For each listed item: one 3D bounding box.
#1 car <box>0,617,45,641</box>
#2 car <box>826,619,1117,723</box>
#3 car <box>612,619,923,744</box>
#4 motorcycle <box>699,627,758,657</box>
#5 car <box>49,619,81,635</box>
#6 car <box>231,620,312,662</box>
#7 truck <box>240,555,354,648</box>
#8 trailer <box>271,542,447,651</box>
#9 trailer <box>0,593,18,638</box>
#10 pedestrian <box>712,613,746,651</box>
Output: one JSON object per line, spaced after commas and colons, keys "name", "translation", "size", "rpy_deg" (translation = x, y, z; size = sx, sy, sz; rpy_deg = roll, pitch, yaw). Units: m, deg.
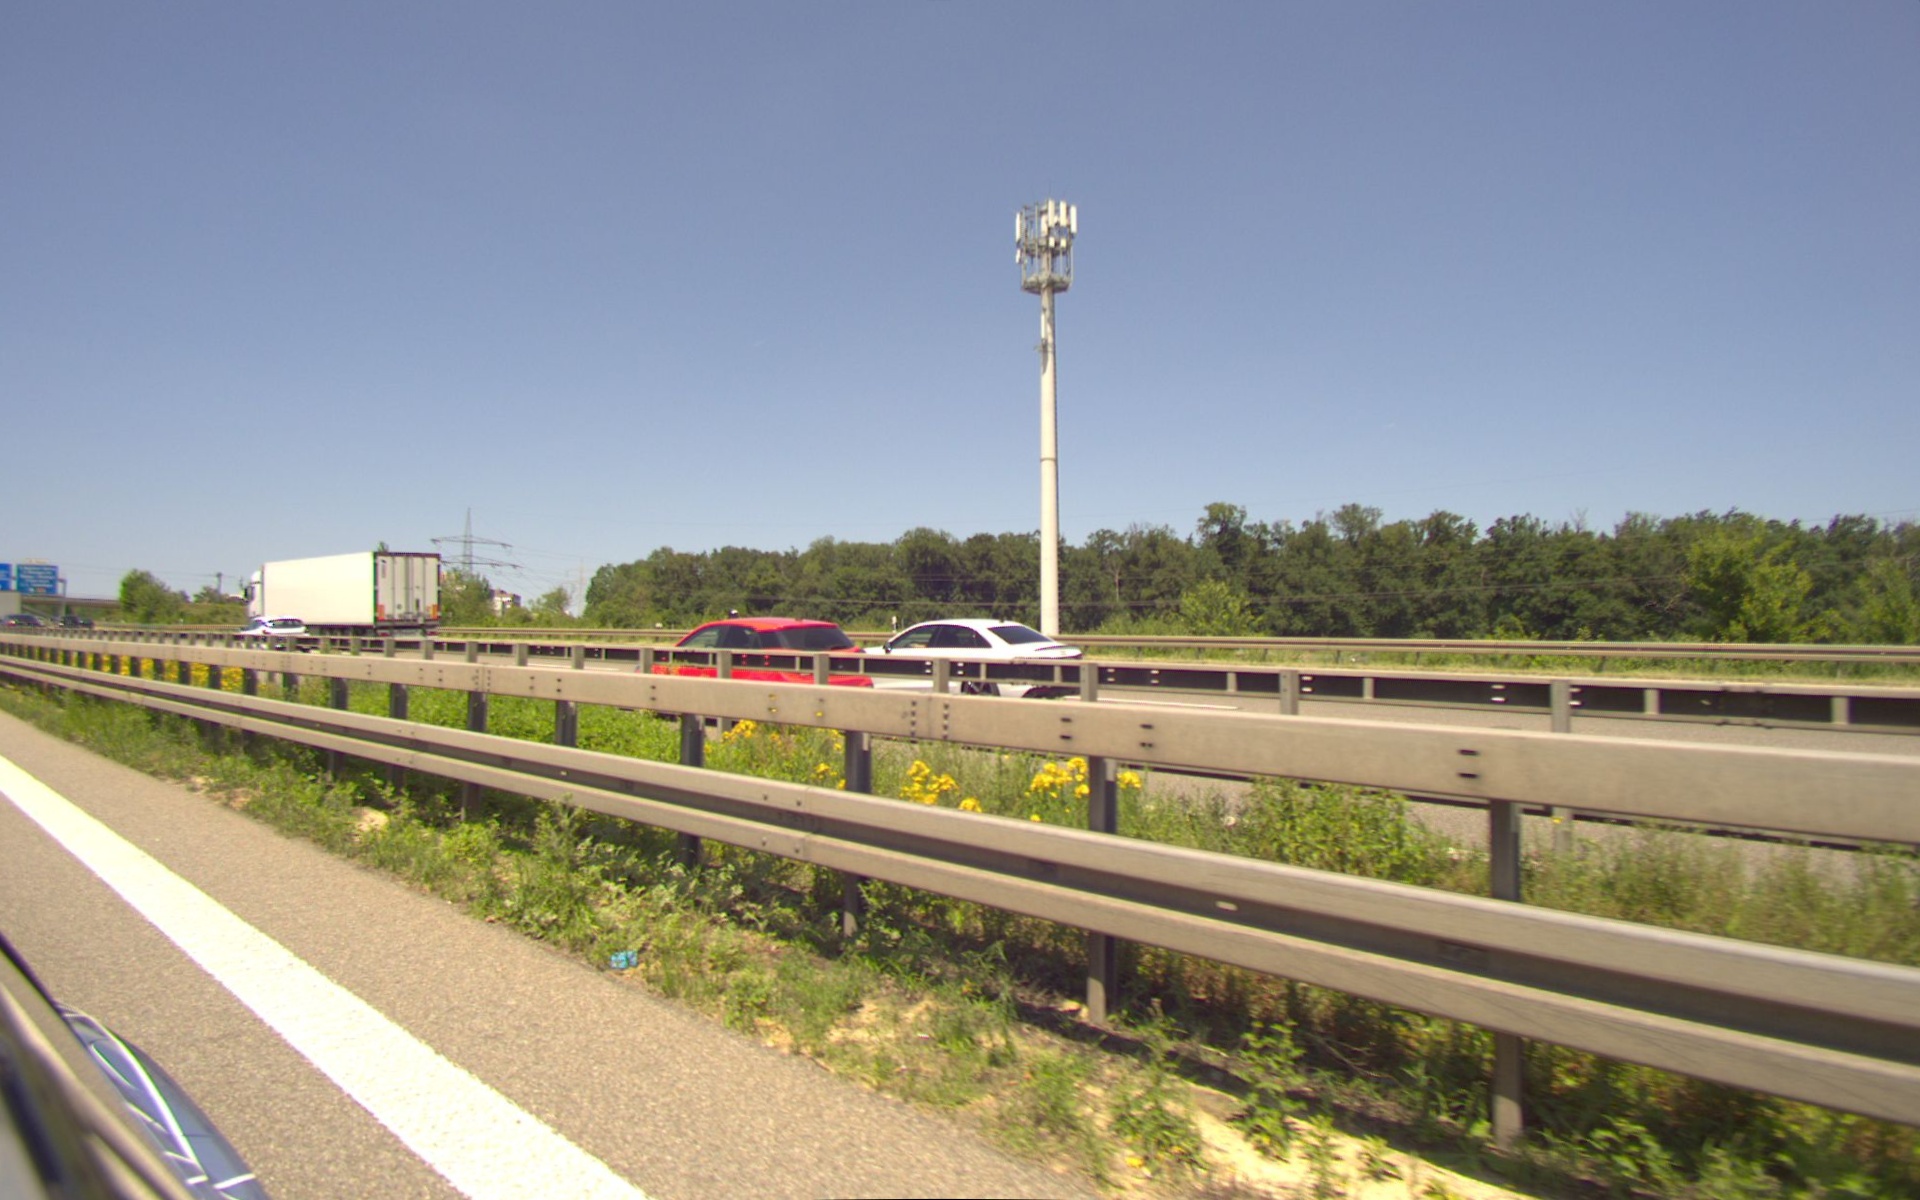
{"name": "car", "translation": [-67.525, 2.067, 72.743], "size": [4.659, 1.657, 1.973], "rpy_deg": [-1, -1, 40]}
{"name": "car", "translation": [0.053, 1.035, 16.252], "size": [4.756, 1.414, 1.640], "rpy_deg": [-1, -1, 41]}
{"name": "car", "translation": [-2.806, 0.997, 13.984], "size": [4.773, 1.435, 1.640], "rpy_deg": [-1, -1, 41]}
{"name": "motorcycle", "translation": [-8.102, 1.449, 35.316], "size": [2.486, 1.023, 0.651], "rpy_deg": [-1, -1, 41]}
{"name": "car", "translation": [-94.119, 2.854, 106.447], "size": [3.995, 1.626, 1.860], "rpy_deg": [-1, -1, 39]}
{"name": "car", "translation": [-26.843, 1.564, 39.400], "size": [4.007, 1.500, 1.723], "rpy_deg": [-1, -1, 42]}
{"name": "truck", "translation": [-32.642, 0.125, 49.726], "size": [6.681, 4.272, 3.004], "rpy_deg": [-1, -1, 41]}
{"name": "trailer", "translation": [-26.822, -0.029, 44.757], "size": [12.241, 4.272, 3.004], "rpy_deg": [-1, -1, 41]}
{"name": "trailer", "translation": [-93.957, 1.510, 97.663], "size": [12.572, 4.144, 2.862], "rpy_deg": [-1, -1, 39]}
{"name": "pedestrian", "translation": [-8.058, 1.108, 35.292], "size": [1.034, 1.326, 0.644], "rpy_deg": [-1, -1, 41]}
